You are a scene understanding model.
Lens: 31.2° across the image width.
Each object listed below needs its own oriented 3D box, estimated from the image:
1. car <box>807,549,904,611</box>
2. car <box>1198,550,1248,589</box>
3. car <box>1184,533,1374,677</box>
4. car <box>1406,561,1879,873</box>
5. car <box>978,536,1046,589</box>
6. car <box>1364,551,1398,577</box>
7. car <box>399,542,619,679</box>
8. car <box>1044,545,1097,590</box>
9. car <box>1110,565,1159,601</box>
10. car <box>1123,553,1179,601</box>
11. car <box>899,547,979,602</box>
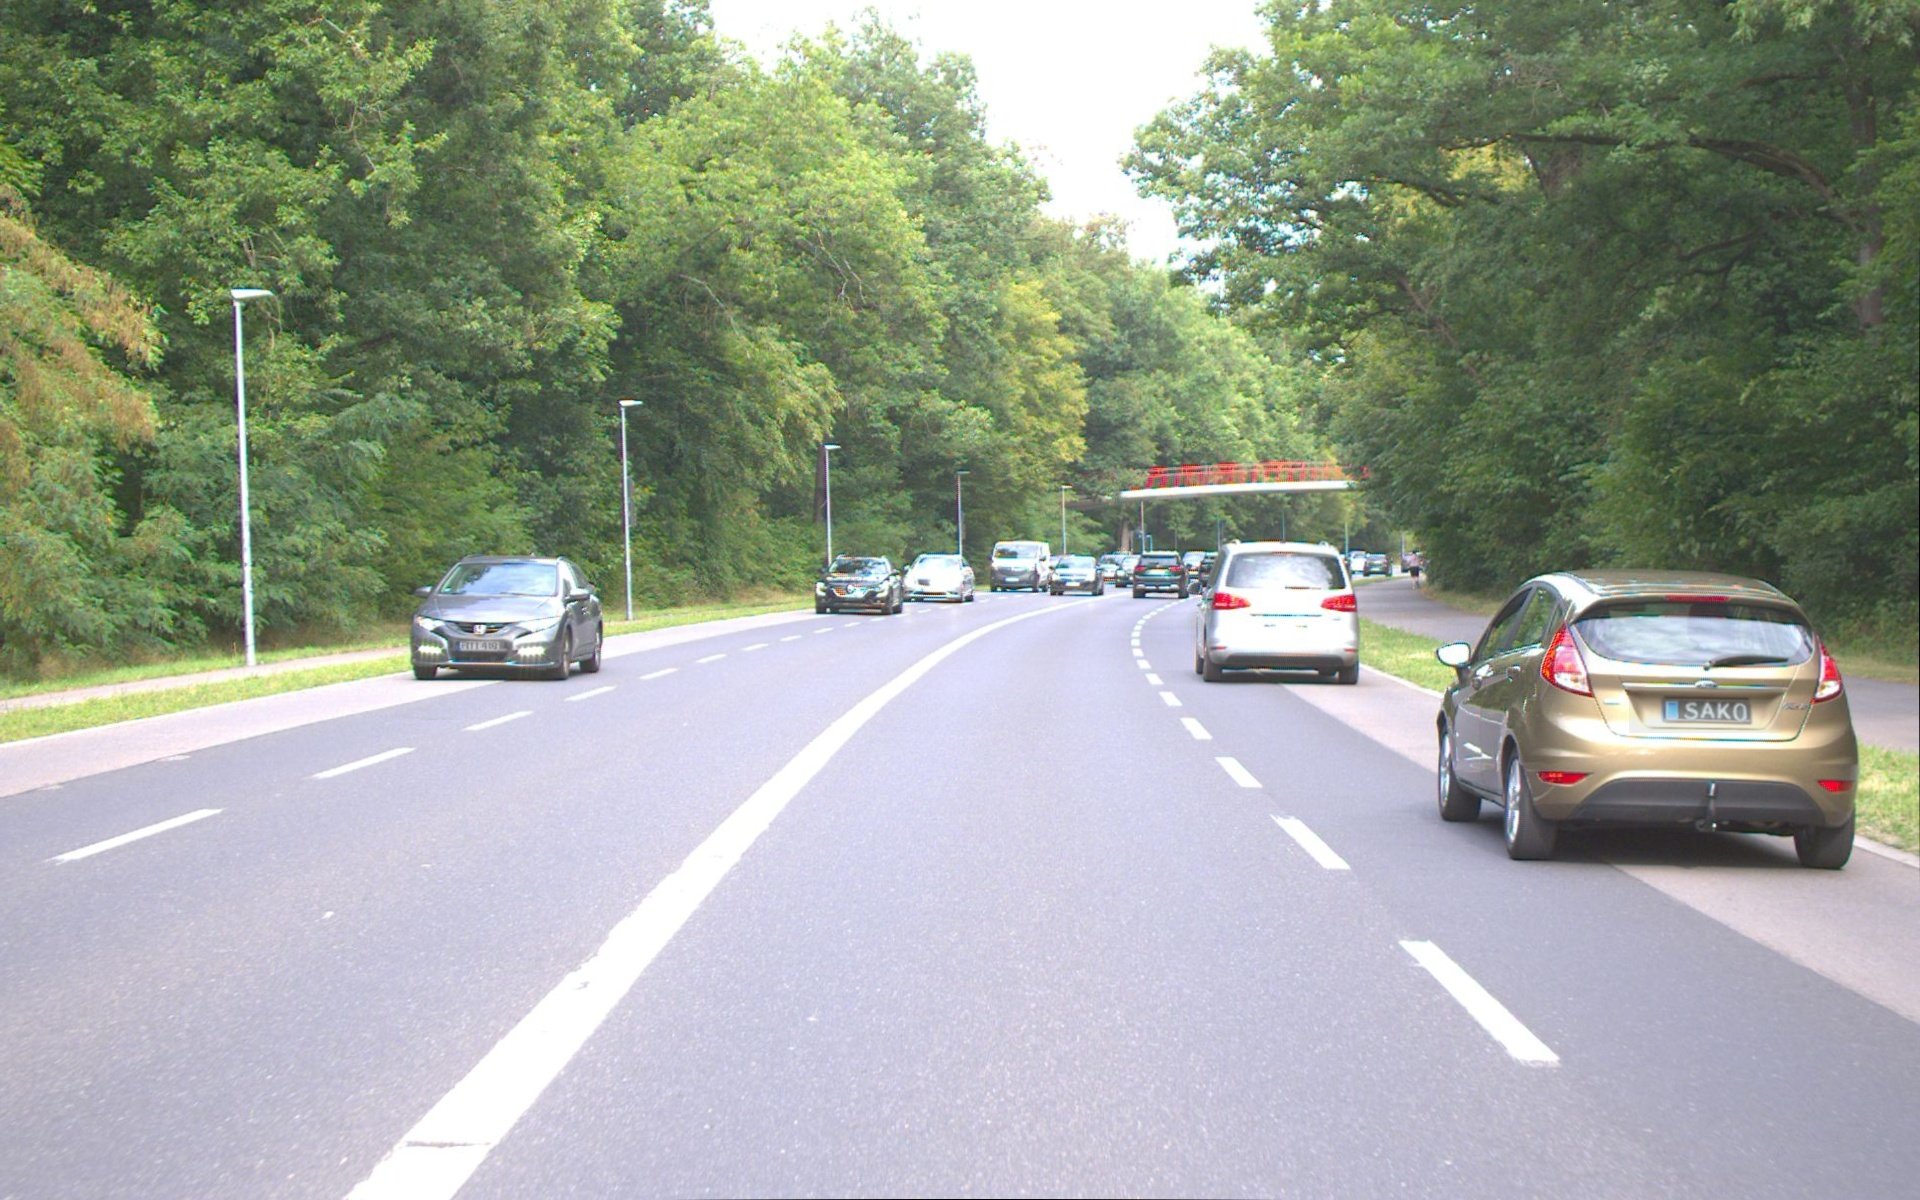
[{"bbox_3d":[-2.569,-0.478,85.501,1.881,1.438,4.402,2,0,5],"label":"car"},{"bbox_3d":[12.136,-1.405,158.315,1.994,1.691,3.998,2,0,8],"label":"car"},{"bbox_3d":[3.846,0.063,41.993,1.993,1.601,4.000,2,0,1],"label":"car"},{"bbox_3d":[3.479,0.554,18.212,1.635,1.415,4.000,2,0,0],"label":"car"},{"bbox_3d":[2.046,-1.435,133.684,1.994,2.007,5.052,0,0,8],"label":"car"},{"bbox_3d":[28.300,-2.438,231.153,1.994,1.700,3.998,0,1,11],"label":"car"},{"bbox_3d":[-5.304,0.123,40.980,1.896,1.478,4.538,2,0,1],"label":"car"},{"bbox_3d":[3.999,-1.155,123.676,1.656,1.481,3.866,2,0,5],"label":"car"},{"bbox_3d":[7.840,-0.755,154.303,1.886,1.473,4.517,2,0,6],"label":"car"},{"bbox_3d":[6.637,-0.785,119.131,1.730,1.582,3.999,2,0,5],"label":"car"},{"bbox_3d":[-0.612,-0.759,105.611,1.994,1.558,4.603,2,0,5],"label":"car"}]
